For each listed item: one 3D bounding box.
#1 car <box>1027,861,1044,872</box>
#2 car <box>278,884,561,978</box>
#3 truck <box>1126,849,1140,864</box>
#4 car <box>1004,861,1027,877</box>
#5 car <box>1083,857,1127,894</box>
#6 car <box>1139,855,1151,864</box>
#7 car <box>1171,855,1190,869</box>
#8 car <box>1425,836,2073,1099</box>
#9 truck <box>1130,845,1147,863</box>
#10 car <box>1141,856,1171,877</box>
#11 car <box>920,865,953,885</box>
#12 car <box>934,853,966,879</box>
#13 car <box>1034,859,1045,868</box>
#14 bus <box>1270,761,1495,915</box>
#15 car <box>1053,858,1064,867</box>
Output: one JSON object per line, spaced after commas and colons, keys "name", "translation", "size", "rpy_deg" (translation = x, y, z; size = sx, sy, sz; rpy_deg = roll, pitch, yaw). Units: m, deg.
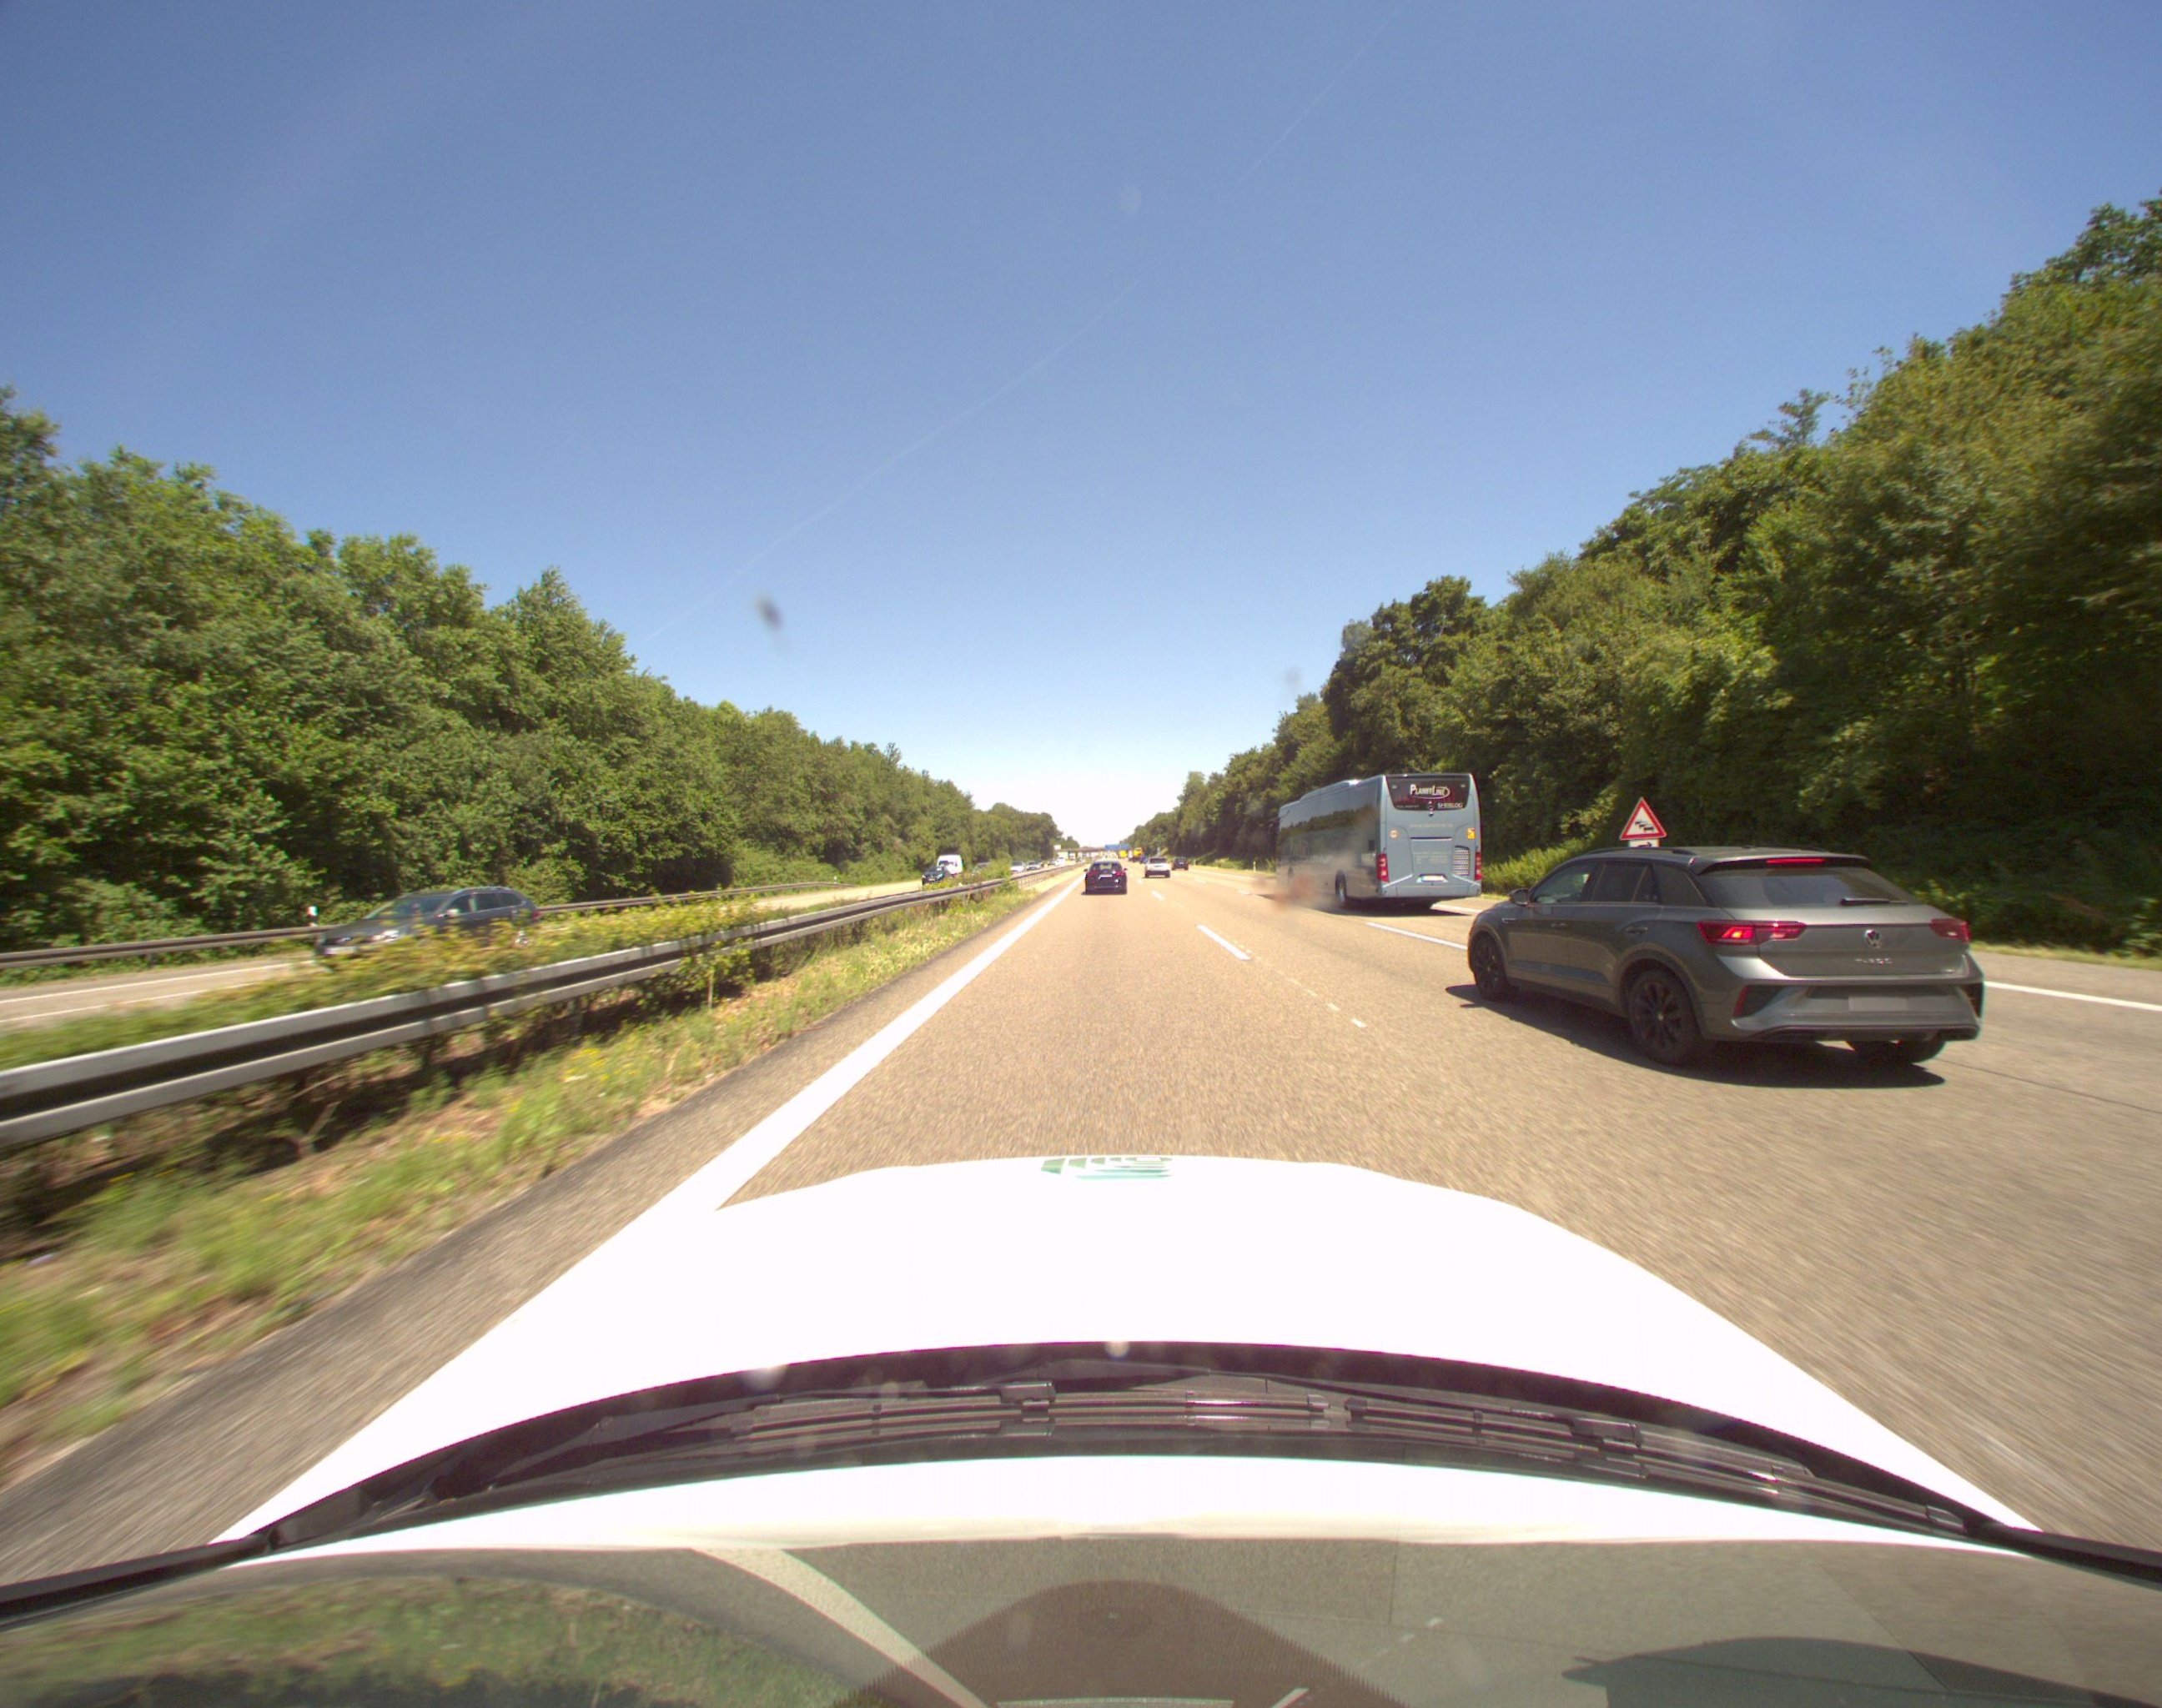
{"name": "car", "translation": [-5.915, 1.628, 106.582], "size": [1.832, 1.383, 4.429], "rpy_deg": [-3, 0, 2]}
{"name": "car", "translation": [-13.490, 1.481, 17.123], "size": [1.842, 1.450, 4.872], "rpy_deg": [-3, 0, 1]}
{"name": "truck", "translation": [16.626, 0.868, 262.092], "size": [3.634, 4.590, 17.248], "rpy_deg": [0, 0, 1]}
{"name": "car", "translation": [-6.548, 1.504, 81.943], "size": [1.842, 1.450, 4.208], "rpy_deg": [-3, 0, 1]}
{"name": "car", "translation": [1.024, 0.891, 35.525], "size": [1.793, 1.502, 4.242], "rpy_deg": [-1, 0, 1]}
{"name": "car", "translation": [12.968, 1.046, 165.768], "size": [2.069, 1.751, 4.242], "rpy_deg": [-2, 0, 1]}
{"name": "car", "translation": [11.093, 0.900, 90.624], "size": [1.782, 1.461, 3.952], "rpy_deg": [-1, 0, 3]}
{"name": "car", "translation": [4.975, 0.677, 7.223], "size": [1.892, 1.532, 4.760], "rpy_deg": [-1, 0, 1]}
{"name": "truck", "translation": [15.100, -0.016, 214.060], "size": [3.634, 4.590, 15.767], "rpy_deg": [0, 0, 1]}
{"name": "car", "translation": [5.518, 0.893, 60.261], "size": [1.893, 1.532, 4.242], "rpy_deg": [-1, 0, 1]}
{"name": "car", "translation": [-11.361, 1.661, 64.472], "size": [1.662, 1.402, 4.707], "rpy_deg": [-2, 0, 1]}
{"name": "car", "translation": [-14.084, 1.262, 87.757], "size": [2.079, 2.552, 6.230], "rpy_deg": [-3, 0, 2]}
{"name": "car", "translation": [-8.356, 1.897, 163.713], "size": [1.814, 1.630, 4.798], "rpy_deg": [-2, 0, 1]}
{"name": "bus", "translation": [8.563, -0.338, 25.486], "size": [2.791, 3.596, 12.479], "rpy_deg": [-1, 0, 2]}
{"name": "car", "translation": [-4.293, 1.648, 154.430], "size": [1.814, 1.523, 4.824], "rpy_deg": [-2, 0, 1]}
